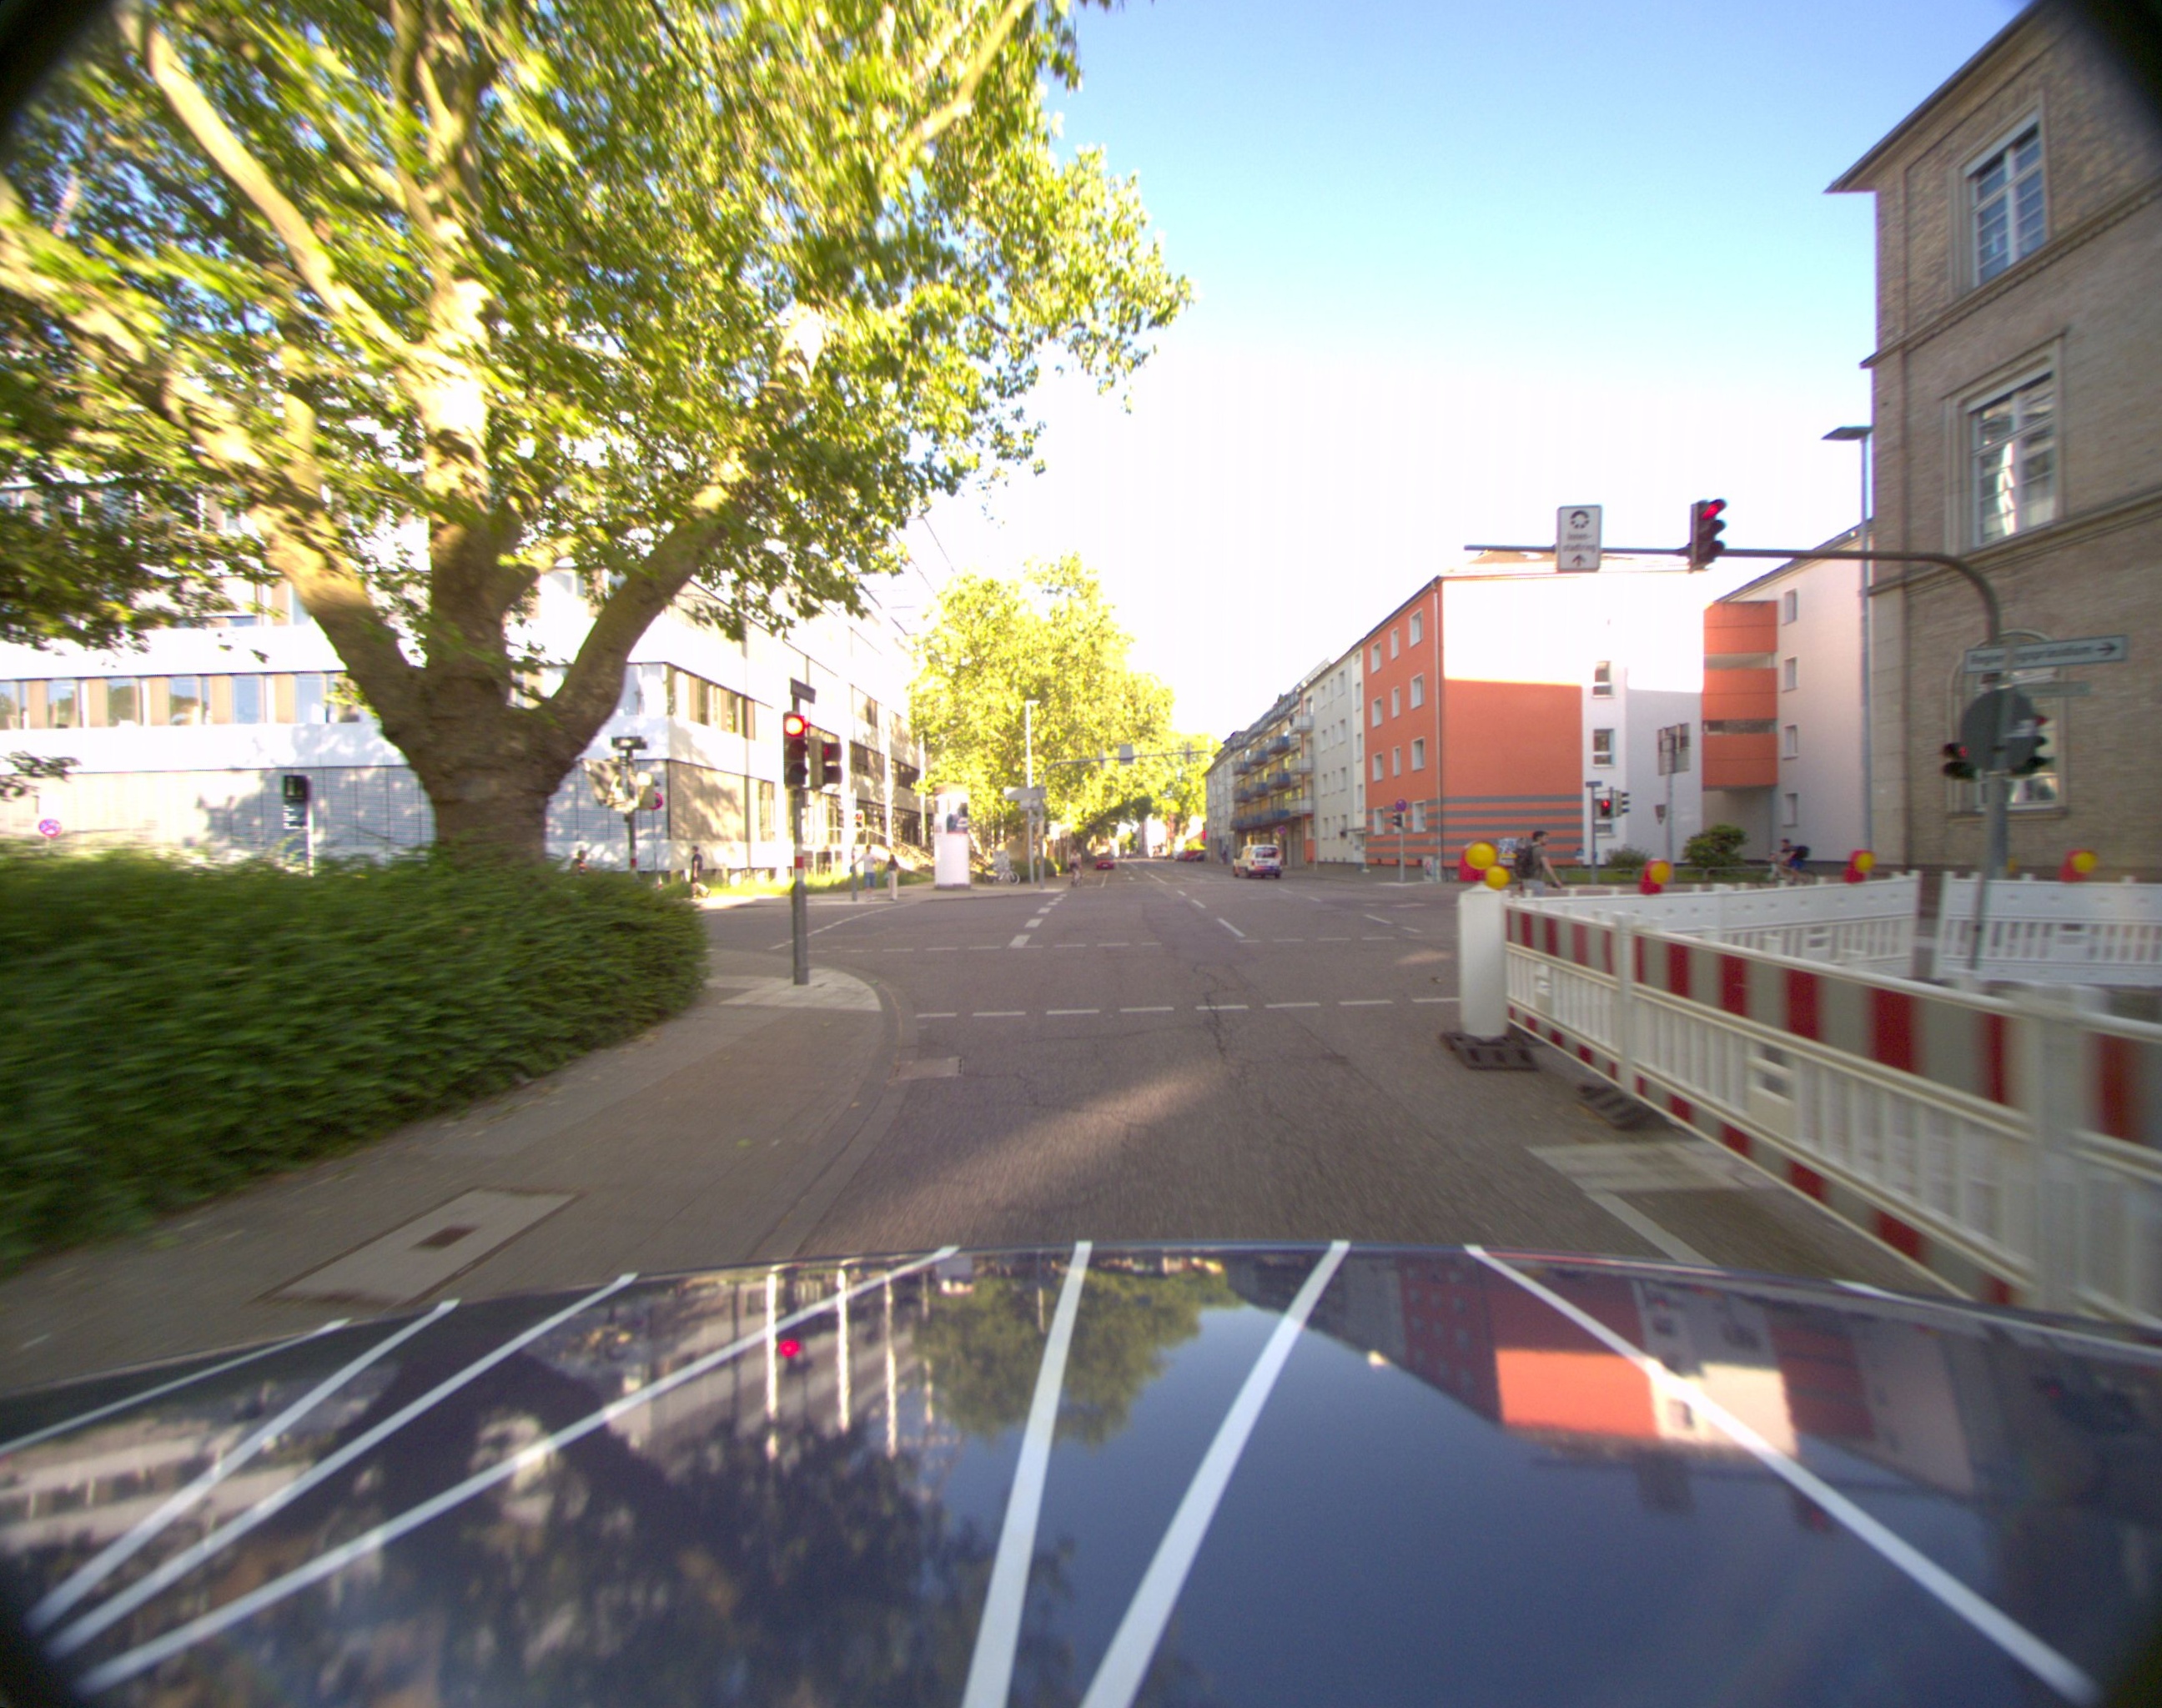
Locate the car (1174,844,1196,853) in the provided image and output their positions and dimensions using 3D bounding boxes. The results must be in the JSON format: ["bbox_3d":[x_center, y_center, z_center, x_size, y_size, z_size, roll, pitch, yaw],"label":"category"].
[{"bbox_3d":[20.433,-1.107,149.495,3.996,1.689,1.834,-1,0,4],"label":"car"}]

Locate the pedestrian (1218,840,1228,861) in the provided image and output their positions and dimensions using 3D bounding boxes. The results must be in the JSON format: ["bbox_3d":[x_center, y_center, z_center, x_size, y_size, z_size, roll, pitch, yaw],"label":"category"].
[{"bbox_3d":[15.997,-0.376,85.429,0.913,2.382,1.088,-1,1,2],"label":"pedestrian"}]

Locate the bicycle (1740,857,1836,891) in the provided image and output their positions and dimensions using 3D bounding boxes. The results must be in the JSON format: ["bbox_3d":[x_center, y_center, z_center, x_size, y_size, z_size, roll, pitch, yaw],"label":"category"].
[{"bbox_3d":[21.286,0.594,22.915,1.988,0.993,0.791,0,-1,15],"label":"bicycle"}]

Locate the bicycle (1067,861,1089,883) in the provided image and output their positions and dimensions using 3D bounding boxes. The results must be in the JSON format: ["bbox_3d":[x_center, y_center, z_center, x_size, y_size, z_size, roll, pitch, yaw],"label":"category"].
[{"bbox_3d":[-0.133,0.870,37.049,0.703,1.060,1.930,-1,-1,10],"label":"bicycle"}]

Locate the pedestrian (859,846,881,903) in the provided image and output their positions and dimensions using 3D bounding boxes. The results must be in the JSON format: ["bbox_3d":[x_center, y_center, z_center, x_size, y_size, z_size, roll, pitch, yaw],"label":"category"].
[{"bbox_3d":[-6.952,0.662,25.041,0.604,1.828,0.569,-2,1,-13],"label":"pedestrian"}]

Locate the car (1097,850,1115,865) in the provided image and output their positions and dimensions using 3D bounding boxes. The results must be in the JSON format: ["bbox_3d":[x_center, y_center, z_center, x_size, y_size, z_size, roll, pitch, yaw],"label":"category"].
[{"bbox_3d":[2.571,0.361,78.244,1.786,1.520,4.657,-1,0,1],"label":"car"}]

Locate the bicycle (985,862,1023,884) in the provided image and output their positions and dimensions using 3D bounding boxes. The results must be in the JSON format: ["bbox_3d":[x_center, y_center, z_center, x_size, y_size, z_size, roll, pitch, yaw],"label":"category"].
[{"bbox_3d":[-3.575,0.873,35.172,1.638,0.993,0.621,0,3,-23],"label":"bicycle"}]

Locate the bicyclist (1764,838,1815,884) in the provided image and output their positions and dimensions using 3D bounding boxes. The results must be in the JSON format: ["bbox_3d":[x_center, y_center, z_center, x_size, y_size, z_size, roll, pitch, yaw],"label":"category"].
[{"bbox_3d":[21.338,0.216,22.893,0.837,1.364,0.793,1,-1,15],"label":"bicyclist"}]

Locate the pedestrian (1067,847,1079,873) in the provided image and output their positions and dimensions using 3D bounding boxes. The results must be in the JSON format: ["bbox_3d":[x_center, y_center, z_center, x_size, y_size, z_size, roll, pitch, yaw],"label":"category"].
[{"bbox_3d":[-0.587,0.438,55.219,0.671,1.786,0.665,-5,2,-4],"label":"pedestrian"}]

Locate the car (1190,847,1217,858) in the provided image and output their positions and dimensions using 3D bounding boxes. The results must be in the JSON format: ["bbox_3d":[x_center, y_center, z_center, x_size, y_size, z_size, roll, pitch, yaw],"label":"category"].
[{"bbox_3d":[19.206,-0.224,118.946,3.996,1.689,1.834,-1,0,4],"label":"car"}]

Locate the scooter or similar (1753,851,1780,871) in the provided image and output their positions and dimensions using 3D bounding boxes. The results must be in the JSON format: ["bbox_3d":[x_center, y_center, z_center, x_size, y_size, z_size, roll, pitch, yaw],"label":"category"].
[{"bbox_3d":[27.393,0.270,30.355,0.301,0.783,0.744,-2,1,-13],"label":"scooter or similar"}]

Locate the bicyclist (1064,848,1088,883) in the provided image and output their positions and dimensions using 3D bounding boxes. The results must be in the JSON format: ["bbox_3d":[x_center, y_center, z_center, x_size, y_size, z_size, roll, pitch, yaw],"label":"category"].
[{"bbox_3d":[-0.226,0.547,36.852,0.949,1.630,1.008,-2,1,10],"label":"bicyclist"}]

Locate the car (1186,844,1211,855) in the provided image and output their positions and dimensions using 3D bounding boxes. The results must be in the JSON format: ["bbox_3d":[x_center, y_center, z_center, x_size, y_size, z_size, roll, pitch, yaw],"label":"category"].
[{"bbox_3d":[19.193,-0.673,124.316,3.996,1.689,1.834,-1,0,4],"label":"car"}]

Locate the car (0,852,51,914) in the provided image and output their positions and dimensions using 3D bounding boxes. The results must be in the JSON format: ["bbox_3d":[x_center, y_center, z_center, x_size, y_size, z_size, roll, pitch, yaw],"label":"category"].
[{"bbox_3d":[-34.014,0.887,22.265,4.716,1.818,2.109,-1,1,0],"label":"car"}]

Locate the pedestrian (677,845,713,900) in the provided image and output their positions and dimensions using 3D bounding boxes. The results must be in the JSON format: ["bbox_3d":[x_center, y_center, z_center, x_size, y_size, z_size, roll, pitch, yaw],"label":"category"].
[{"bbox_3d":[-12.766,0.615,25.150,0.997,1.760,0.604,-1,-2,-29],"label":"pedestrian"}]

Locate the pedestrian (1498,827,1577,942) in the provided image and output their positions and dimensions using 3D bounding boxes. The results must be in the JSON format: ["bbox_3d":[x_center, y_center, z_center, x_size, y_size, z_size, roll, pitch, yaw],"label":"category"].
[{"bbox_3d":[7.282,0.477,12.156,0.883,1.761,0.748,-1,1,12],"label":"pedestrian"}]

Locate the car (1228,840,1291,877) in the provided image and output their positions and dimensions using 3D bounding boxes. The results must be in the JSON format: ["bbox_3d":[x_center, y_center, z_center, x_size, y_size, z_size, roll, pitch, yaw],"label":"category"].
[{"bbox_3d":[9.727,0.289,41.900,1.999,1.806,5.125,-3,-1,-3],"label":"car"}]

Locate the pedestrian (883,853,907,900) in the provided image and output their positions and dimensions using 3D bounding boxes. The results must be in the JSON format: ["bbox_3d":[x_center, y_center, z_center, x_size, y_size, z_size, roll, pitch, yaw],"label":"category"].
[{"bbox_3d":[-6.145,0.738,25.114,0.673,1.515,0.560,-2,1,-10],"label":"pedestrian"}]
